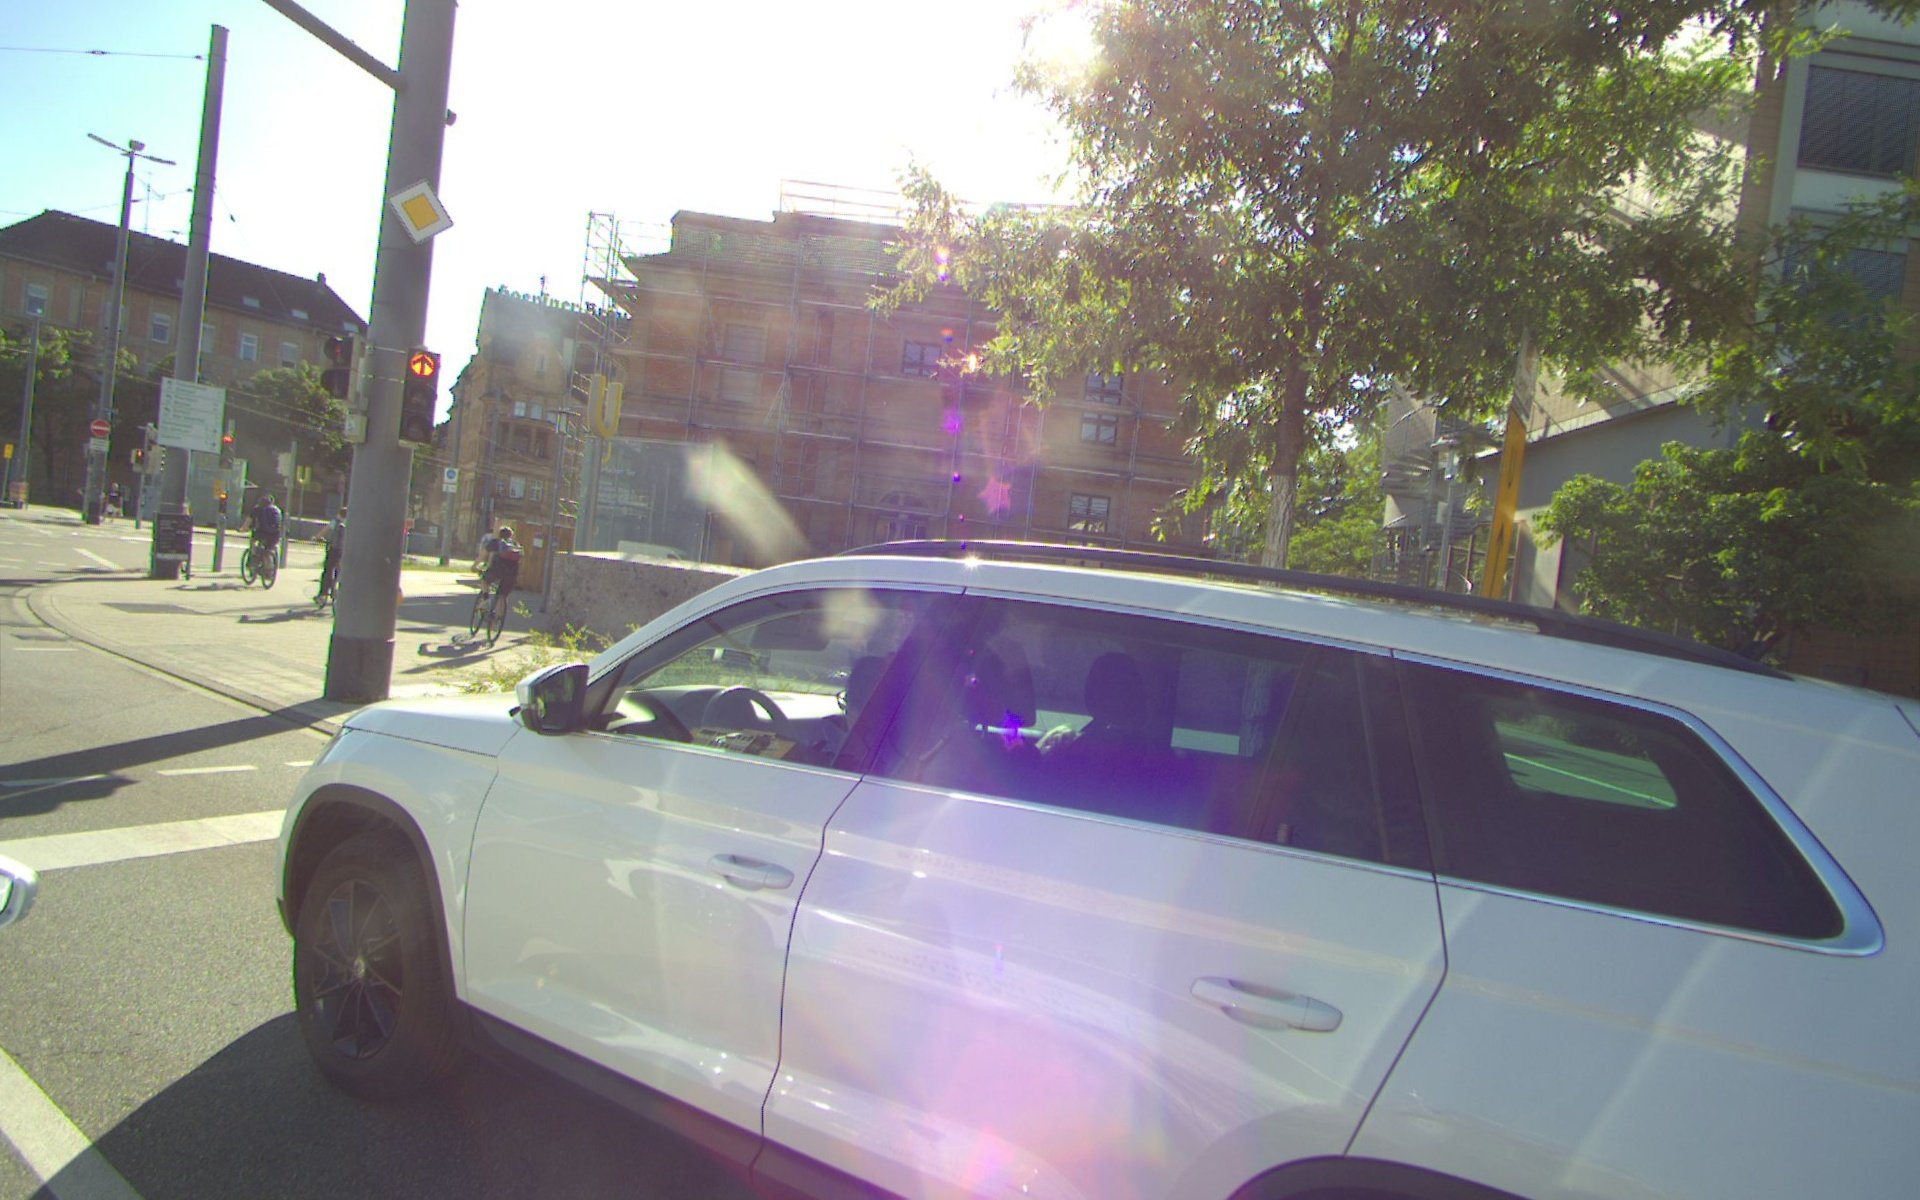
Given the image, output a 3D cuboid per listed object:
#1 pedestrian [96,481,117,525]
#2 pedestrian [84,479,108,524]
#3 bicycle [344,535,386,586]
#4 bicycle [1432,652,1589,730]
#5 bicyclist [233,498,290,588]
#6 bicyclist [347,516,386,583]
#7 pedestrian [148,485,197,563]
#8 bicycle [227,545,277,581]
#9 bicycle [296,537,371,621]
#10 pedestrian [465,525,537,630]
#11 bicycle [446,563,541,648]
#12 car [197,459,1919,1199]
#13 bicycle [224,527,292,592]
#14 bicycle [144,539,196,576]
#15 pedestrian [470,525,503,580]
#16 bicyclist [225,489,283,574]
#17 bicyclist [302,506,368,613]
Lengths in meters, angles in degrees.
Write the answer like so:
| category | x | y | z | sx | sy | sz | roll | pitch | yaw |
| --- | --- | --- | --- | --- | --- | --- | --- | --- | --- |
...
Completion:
| category | x | y | z | sx | sy | sz | roll | pitch | yaw |
| --- | --- | --- | --- | --- | --- | --- | --- | --- | --- |
| pedestrian | -41.358 | -4.676 | 48.745 | 0.443 | 2.039 | 0.462 | 7 | 2 | 14 |
| pedestrian | -41.168 | -4.674 | 47.959 | 0.443 | 2.039 | 0.574 | 7 | 1 | 14 |
| bicycle | -14.974 | -0.994 | 25.297 | 0.569 | 1.139 | 1.720 | 6 | 1 | -40 |
| bicycle | 13.079 | 2.156 | 23.997 | 3.079 | 1.395 | 0.798 | 7 | 1 | 8 |
| bicyclist | -13.669 | -1.115 | 19.679 | 0.981 | 1.660 | 0.624 | 7 | 4 | 41 |
| bicyclist | -14.897 | -1.281 | 25.238 | 0.569 | 1.588 | 0.936 | 6 | 1 | -40 |
| pedestrian | -17.122 | -1.652 | 21.862 | 0.845 | 1.582 | 0.548 | 7 | 1 | 39 |
| bicycle | -16.129 | -0.849 | 22.910 | 1.446 | 0.664 | 0.536 | 7 | 2 | 39 |
| bicycle | -10.138 | -0.358 | 16.249 | 0.682 | 1.179 | 1.861 | 4 | 3 | -41 |
| pedestrian | -6.658 | -0.327 | 14.586 | 0.948 | 1.421 | 0.515 | 8 | 3 | 40 |
| bicycle | -6.858 | 0.066 | 14.747 | 1.743 | 1.059 | 0.515 | 7 | 3 | 40 |
| car | 0.012 | 0.682 | 2.691 | 4.224 | 1.662 | 1.697 | 7 | 0 | 30 |
| bicycle | -13.852 | -0.812 | 19.830 | 1.824 | 1.129 | 0.624 | 7 | 3 | 41 |
| bicycle | -17.204 | -0.924 | 21.896 | 1.700 | 0.664 | 0.536 | 7 | 3 | 40 |
| pedestrian | -17.581 | -1.761 | 37.345 | 0.887 | 1.883 | 0.922 | 6 | 1 | -23 |
| bicyclist | -16.046 | -1.550 | 22.874 | 0.910 | 1.802 | 0.746 | 8 | 2 | 39 |
| bicyclist | -10.077 | -0.664 | 16.206 | 0.682 | 1.620 | 0.966 | 3 | 3 | -41 |
